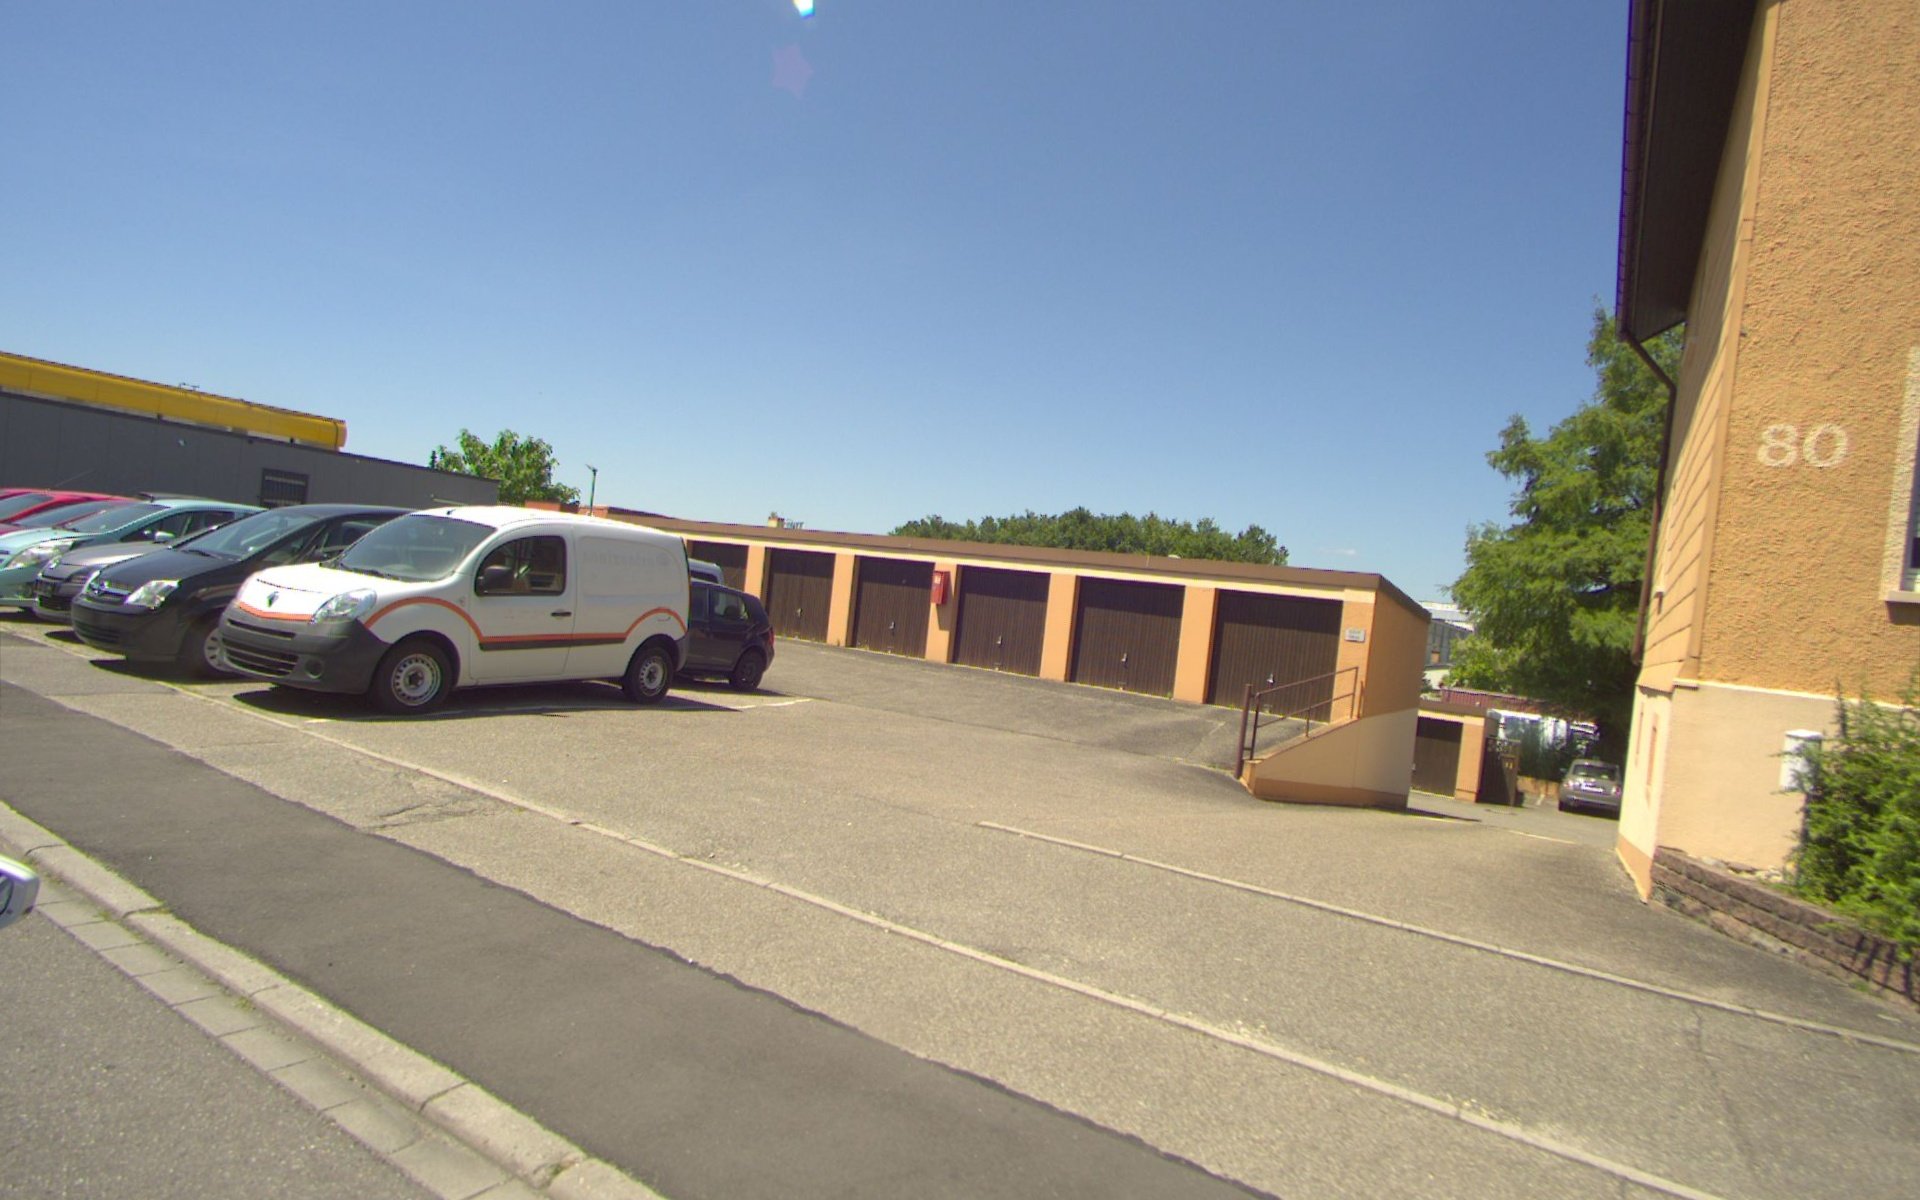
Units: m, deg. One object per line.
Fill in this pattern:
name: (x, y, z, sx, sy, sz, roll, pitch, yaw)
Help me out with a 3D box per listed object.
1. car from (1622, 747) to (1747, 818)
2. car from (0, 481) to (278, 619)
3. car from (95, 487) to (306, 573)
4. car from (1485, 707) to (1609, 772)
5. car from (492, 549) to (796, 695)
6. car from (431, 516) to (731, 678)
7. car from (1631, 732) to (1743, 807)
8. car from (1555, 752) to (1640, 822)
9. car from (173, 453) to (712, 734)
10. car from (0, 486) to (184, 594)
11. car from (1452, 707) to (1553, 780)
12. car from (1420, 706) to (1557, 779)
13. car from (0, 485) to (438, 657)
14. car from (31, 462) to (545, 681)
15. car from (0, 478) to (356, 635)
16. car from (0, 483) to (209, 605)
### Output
car: (25.529, 6.384, 35.579, 3.296, 1.811, 1.689, 6, -2, 32)
car: (-11.867, -0.678, 13.820, 1.719, 1.586, 3.690, 7, 1, 28)
car: (-20.057, -1.808, 26.715, 1.916, 1.677, 3.989, 6, -1, 34)
car: (25.080, 5.936, 43.028, 4.311, 2.036, 1.996, 6, -2, 35)
car: (-4.206, 0.388, 13.960, 1.914, 1.484, 3.619, 7, -3, 27)
car: (-5.631, 0.047, 15.430, 1.661, 1.858, 3.902, 7, -3, 33)
car: (29.106, 6.739, 40.388, 3.296, 2.368, 1.689, 6, -1, 32)
car: (18.903, 5.444, 29.744, 1.624, 1.617, 4.195, 6, -2, 38)
car: (-4.498, 0.022, 9.503, 1.776, 1.962, 4.144, 7, 0, 26)
car: (-15.707, -1.088, 16.508, 1.925, 1.554, 4.228, 7, 1, 31)
car: (21.972, 5.762, 40.758, 3.296, 2.368, 1.689, 6, -1, 32)
car: (20.265, 5.419, 38.633, 4.311, 2.036, 1.996, 6, -2, 35)
car: (-8.335, -0.242, 11.438, 1.803, 1.529, 3.794, 7, 1, 32)
car: (-6.483, -0.189, 10.182, 1.733, 1.702, 3.881, 7, 1, 29)
car: (-9.975, -0.485, 12.653, 1.614, 1.586, 3.689, 7, 1, 30)
car: (-13.781, -0.889, 15.019, 1.679, 1.586, 3.690, 7, 1, 28)
